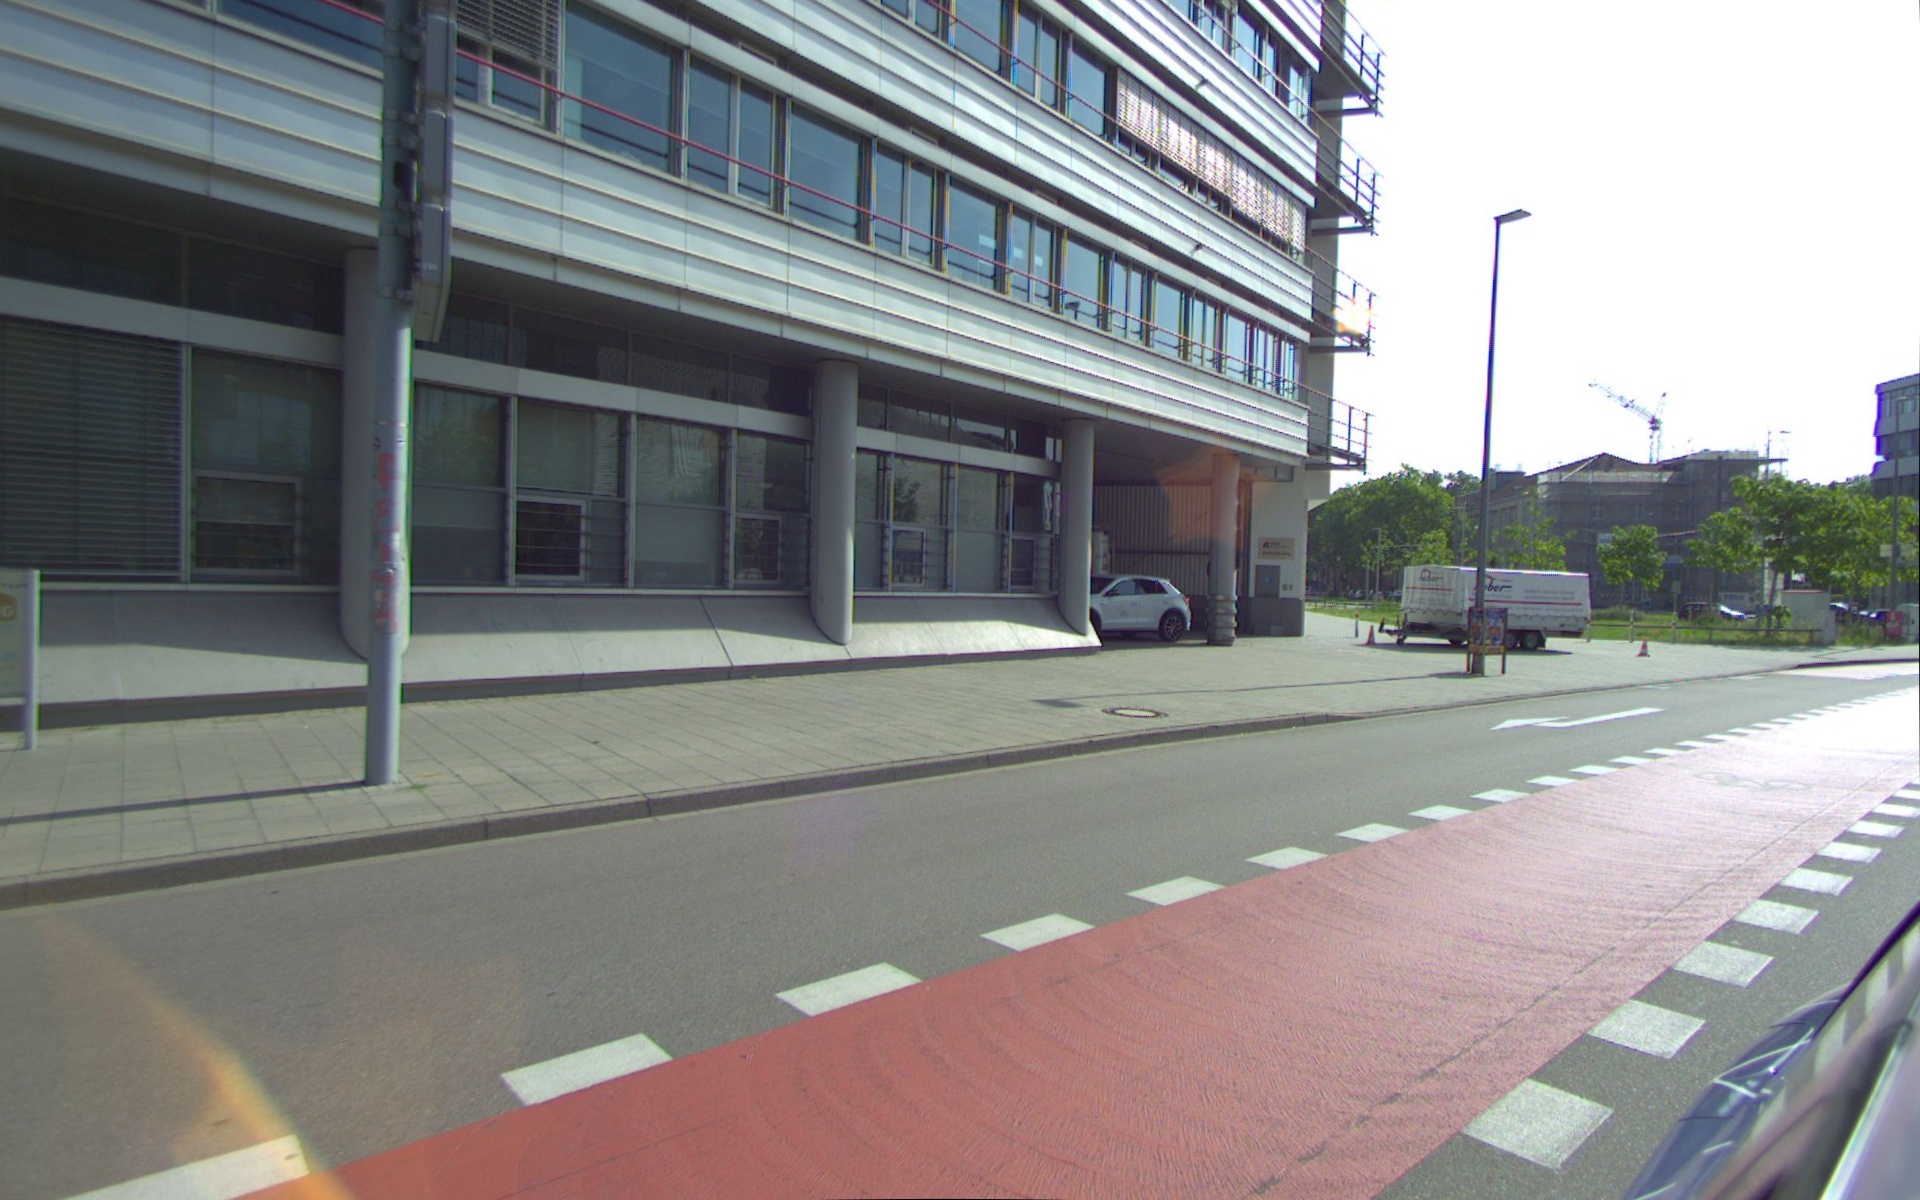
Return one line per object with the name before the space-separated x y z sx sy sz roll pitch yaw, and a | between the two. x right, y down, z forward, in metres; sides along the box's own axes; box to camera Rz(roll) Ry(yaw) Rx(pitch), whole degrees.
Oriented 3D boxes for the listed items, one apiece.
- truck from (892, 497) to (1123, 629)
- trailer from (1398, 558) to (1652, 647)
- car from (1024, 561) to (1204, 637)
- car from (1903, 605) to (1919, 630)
truck | 1.340 -1.108 28.525 6.069 3.134 1.990 5 3 16
trailer | 15.102 0.055 27.150 5.824 2.178 2.402 1 1 -14
car | 3.638 -0.017 23.760 3.920 1.609 1.751 2 1 -31
car | 53.891 1.009 55.300 1.556 1.359 3.169 1 1 -6
